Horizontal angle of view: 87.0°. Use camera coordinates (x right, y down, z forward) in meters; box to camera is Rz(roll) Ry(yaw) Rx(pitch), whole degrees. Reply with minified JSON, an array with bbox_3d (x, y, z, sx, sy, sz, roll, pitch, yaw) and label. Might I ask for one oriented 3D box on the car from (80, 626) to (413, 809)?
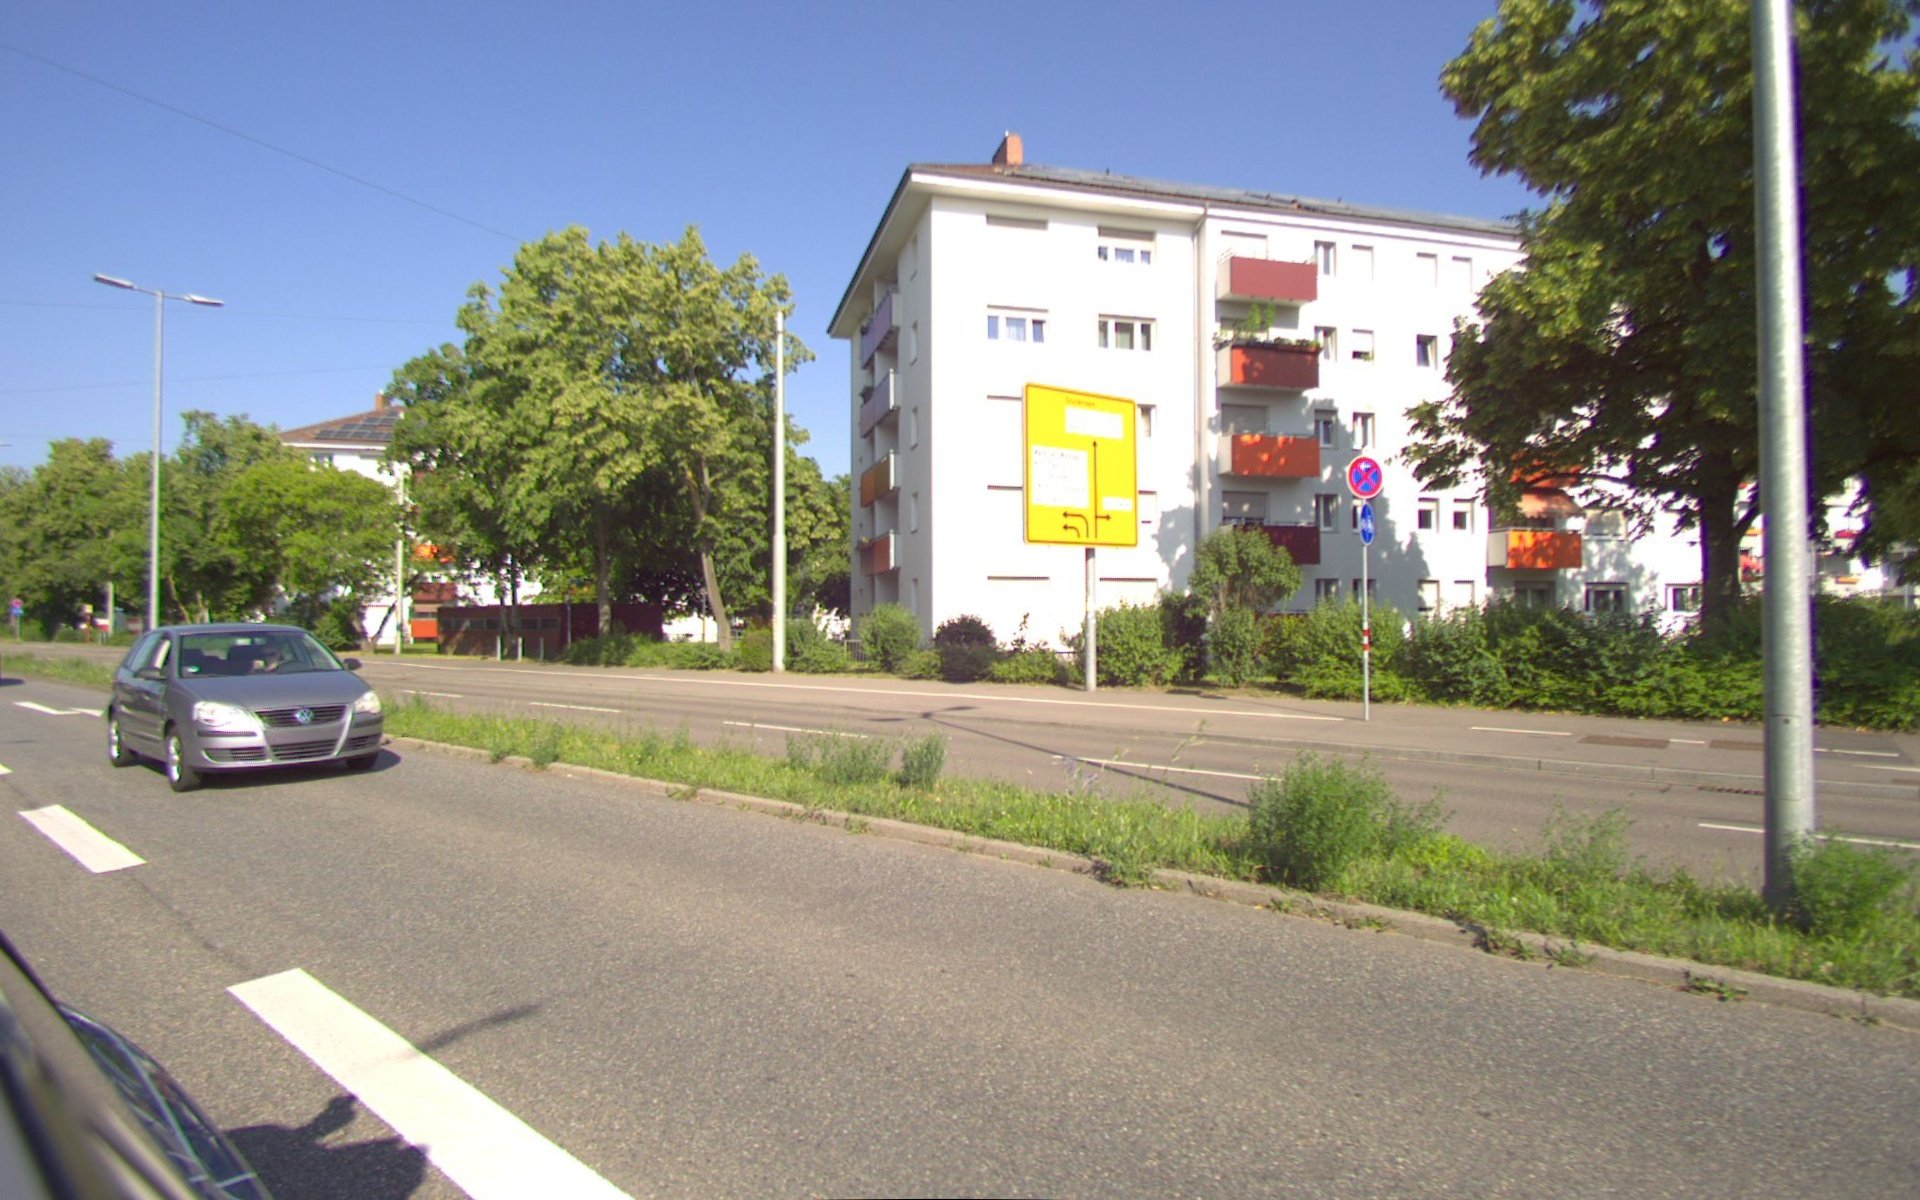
[{"bbox_3d":[-7.172,1.015,10.051,3.827,1.439,1.672,-2,-1,38],"label":"car"}]
